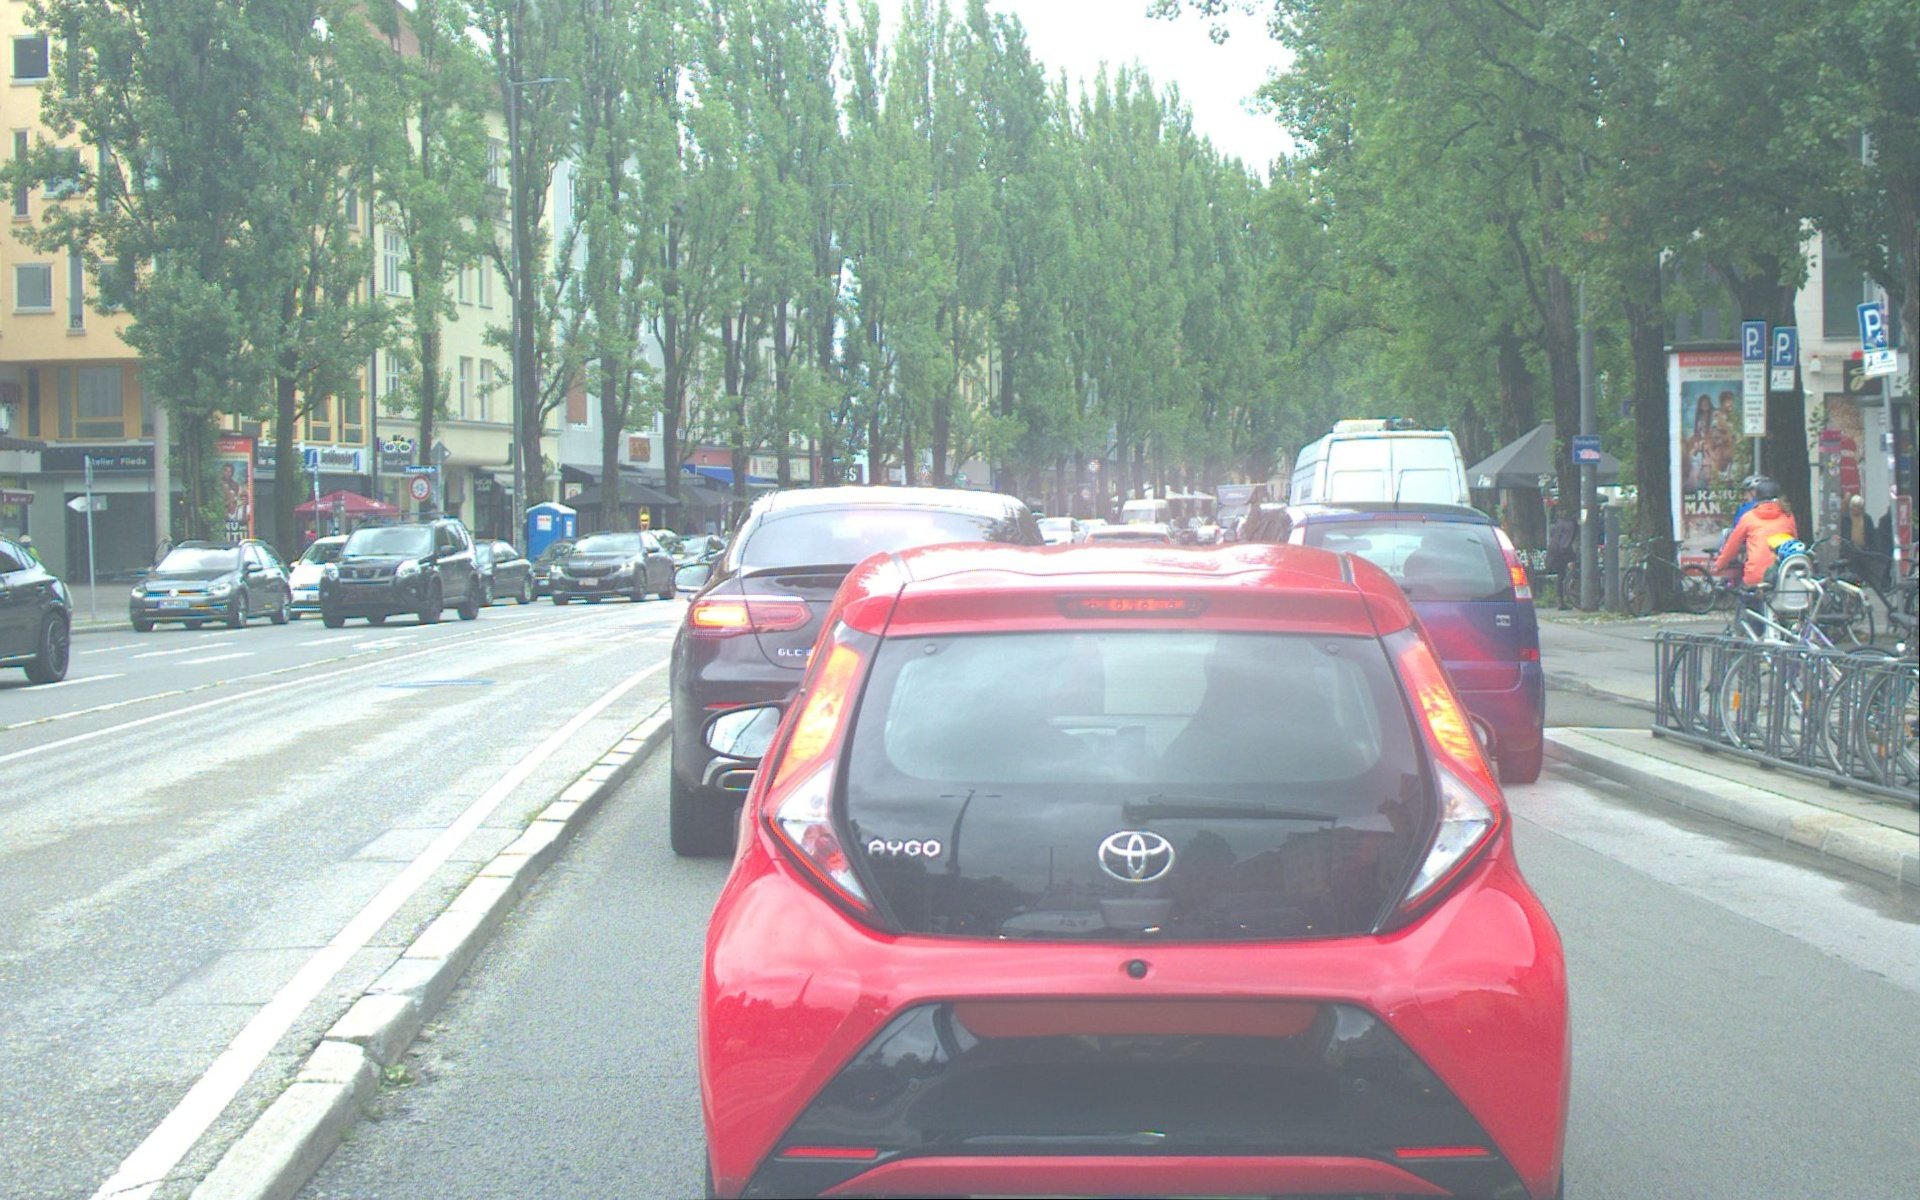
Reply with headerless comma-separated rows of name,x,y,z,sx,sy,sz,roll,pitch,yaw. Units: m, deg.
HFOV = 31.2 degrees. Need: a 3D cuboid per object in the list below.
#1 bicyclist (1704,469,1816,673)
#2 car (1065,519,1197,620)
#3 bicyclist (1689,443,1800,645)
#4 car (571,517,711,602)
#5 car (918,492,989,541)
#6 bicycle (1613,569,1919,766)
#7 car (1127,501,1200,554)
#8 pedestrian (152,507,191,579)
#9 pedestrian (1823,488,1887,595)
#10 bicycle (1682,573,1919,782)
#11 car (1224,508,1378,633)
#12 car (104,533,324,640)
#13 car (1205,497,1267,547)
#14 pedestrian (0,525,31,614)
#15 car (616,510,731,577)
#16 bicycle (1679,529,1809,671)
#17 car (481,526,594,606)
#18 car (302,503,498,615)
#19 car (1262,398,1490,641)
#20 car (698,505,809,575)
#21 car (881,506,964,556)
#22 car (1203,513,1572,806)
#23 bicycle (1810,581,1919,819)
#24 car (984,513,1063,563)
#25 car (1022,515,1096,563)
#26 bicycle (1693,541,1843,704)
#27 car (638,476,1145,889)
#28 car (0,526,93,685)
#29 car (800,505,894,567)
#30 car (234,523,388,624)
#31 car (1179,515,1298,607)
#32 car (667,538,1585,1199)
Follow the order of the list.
bicyclist,6.658,-0.252,28.657,0.614,1.652,1.251,-1,1,0
car,2.523,-0.482,51.423,1.699,1.421,3.497,-1,1,-1
bicyclist,7.393,-0.535,32.452,0.762,1.863,1.133,-1,1,0
car,-6.651,-0.881,72.175,1.994,1.686,4.920,0,2,6
car,-0.236,-3.336,137.442,1.994,1.927,4.412,0,1,11
bicycle,4.931,0.387,20.825,1.836,1.132,0.585,0,2,35
car,5.675,-2.036,95.601,1.773,1.434,3.937,-1,2,7
pedestrian,-20.047,-1.451,87.429,0.688,1.804,0.765,-1,1,11
pedestrian,13.505,-0.886,51.889,0.764,1.588,0.676,-1,1,-1
bicycle,5.050,0.422,19.359,1.836,1.132,0.585,0,2,35
car,4.665,-0.434,47.422,1.702,1.657,3.556,0,1,-1
car,-12.259,-0.256,56.786,1.994,1.604,4.531,-1,2,9
car,10.547,-2.994,131.210,1.994,1.831,3.999,-1,1,10
pedestrian,-21.381,-0.681,77.410,0.687,1.990,0.765,-1,1,-1
car,-7.565,-1.515,91.299,1.994,1.686,4.920,-1,1,8
bicycle,7.374,-0.022,32.444,0.614,1.260,2.520,-1,2,0
car,-10.022,-0.839,81.805,1.856,1.809,4.000,2,1,4
car,-8.902,-0.692,55.103,1.994,1.686,4.921,-1,1,4
car,4.914,-0.971,41.249,2.107,2.709,4.804,-1,1,0
car,-5.146,-1.522,86.282,1.994,1.686,4.920,0,1,6
car,-1.289,-2.432,120.866,1.994,1.686,4.412,-1,1,11
car,2.470,0.282,20.624,1.703,1.584,3.556,-1,1,-1
bicycle,5.104,0.484,16.630,1.836,1.132,0.585,0,2,35
car,2.245,-2.175,120.027,1.994,1.686,4.412,-1,1,11
car,3.679,-2.284,127.484,1.994,1.686,4.412,-1,1,11
bicycle,6.675,0.157,28.509,0.614,1.260,2.520,-1,2,0
car,-0.331,0.281,15.719,1.993,1.612,4.001,1,1,-2
car,-10.240,0.058,33.691,1.994,1.529,4.587,-1,1,5
car,-3.163,-1.828,97.084,1.994,1.686,4.920,0,1,6
car,-12.252,-0.527,65.148,1.856,1.809,4.000,2,1,4
car,4.770,-0.695,59.234,1.702,1.524,3.556,0,1,-1
car,0.281,0.609,7.616,1.605,1.456,3.130,0,1,0
